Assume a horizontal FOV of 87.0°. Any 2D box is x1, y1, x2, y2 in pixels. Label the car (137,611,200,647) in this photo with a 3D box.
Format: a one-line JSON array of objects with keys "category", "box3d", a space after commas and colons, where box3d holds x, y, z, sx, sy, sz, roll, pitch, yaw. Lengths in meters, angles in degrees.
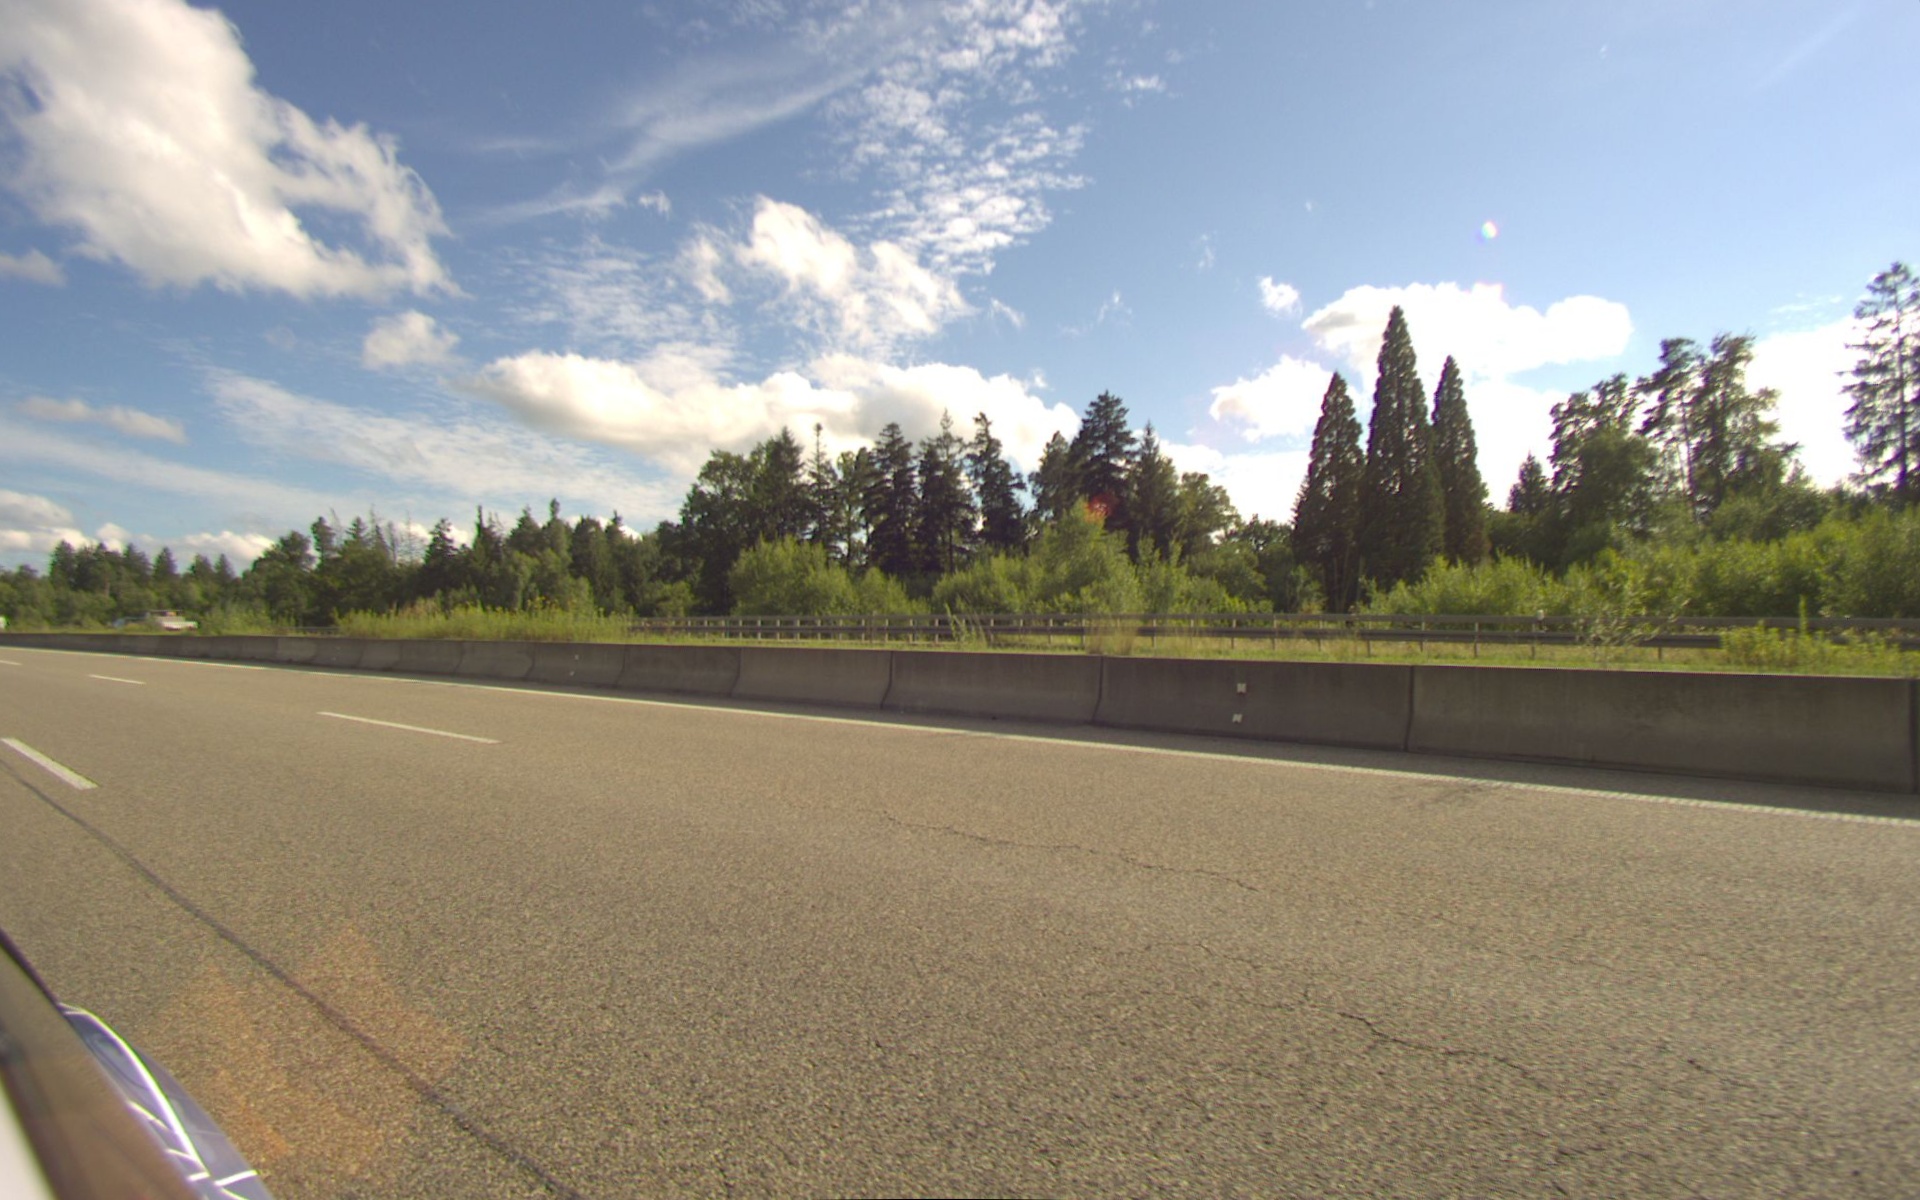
[{"category": "car", "box3d": [-57.220, 2.073, 73.138, 6.188, 2.335, 2.287, -2, 2, 41]}]
